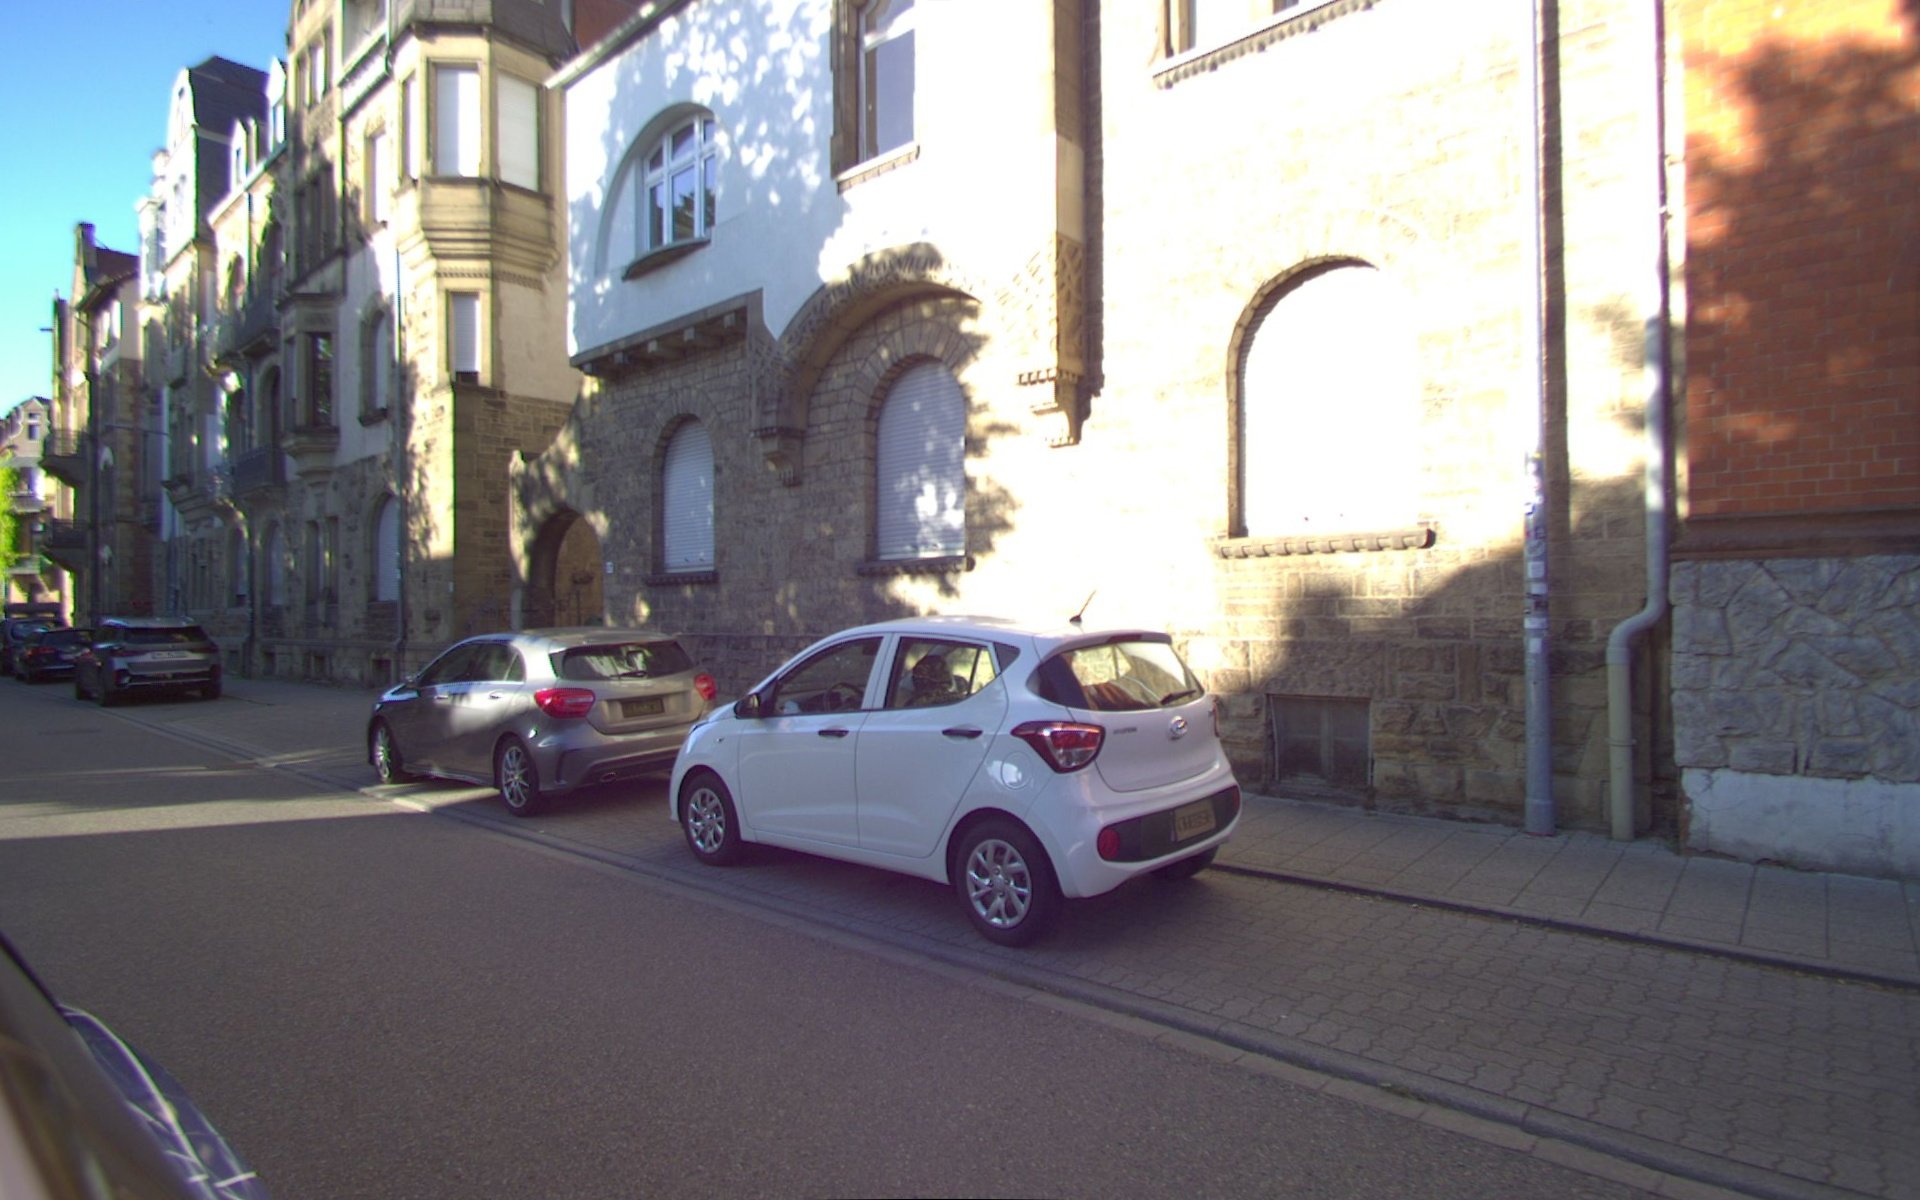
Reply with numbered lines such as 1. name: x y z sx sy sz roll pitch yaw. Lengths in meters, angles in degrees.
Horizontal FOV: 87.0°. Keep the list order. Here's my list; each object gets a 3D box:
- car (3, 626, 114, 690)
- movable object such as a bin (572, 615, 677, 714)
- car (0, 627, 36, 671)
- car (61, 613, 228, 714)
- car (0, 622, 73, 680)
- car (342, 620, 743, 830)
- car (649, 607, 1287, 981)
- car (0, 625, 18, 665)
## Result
1. car: -24.738 1.522 27.723 4.210 1.512 1.751 0 -1 41
2. movable object such as a bin: -5.449 1.007 16.461 1.173 1.489 1.180 -1 0 41
3. car: -34.111 1.785 35.875 3.854 1.458 1.612 -3 1 42
4. car: -16.096 1.174 19.899 4.337 1.730 1.856 -2 -1 41
5. car: -29.723 1.573 32.176 4.210 1.680 1.751 -1 0 41
6. car: -3.934 0.962 9.195 4.108 1.453 1.660 -2 -1 40
7. car: -0.166 0.831 5.873 3.591 1.481 1.549 -2 -1 43
8. car: -38.210 1.831 39.612 3.854 1.516 1.612 -3 1 42
